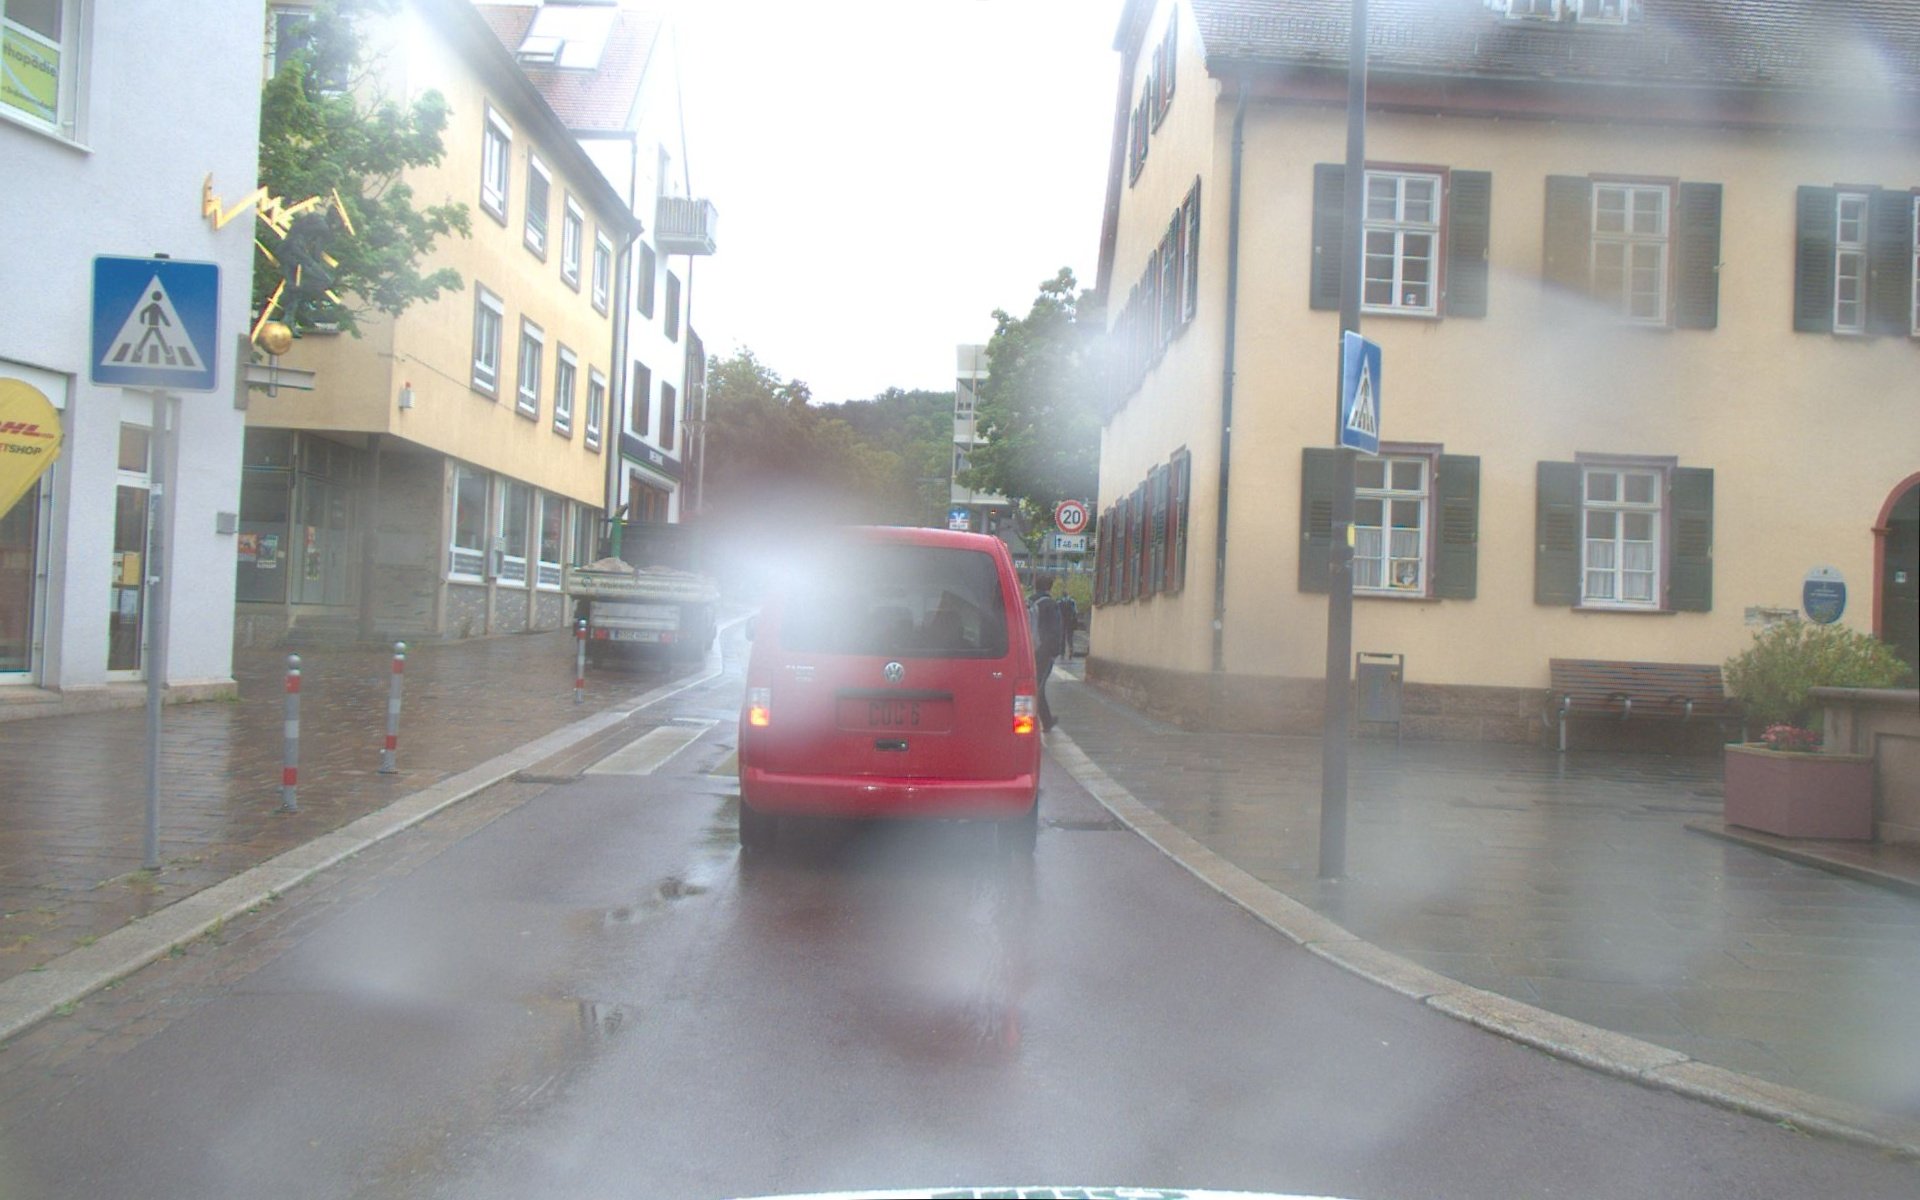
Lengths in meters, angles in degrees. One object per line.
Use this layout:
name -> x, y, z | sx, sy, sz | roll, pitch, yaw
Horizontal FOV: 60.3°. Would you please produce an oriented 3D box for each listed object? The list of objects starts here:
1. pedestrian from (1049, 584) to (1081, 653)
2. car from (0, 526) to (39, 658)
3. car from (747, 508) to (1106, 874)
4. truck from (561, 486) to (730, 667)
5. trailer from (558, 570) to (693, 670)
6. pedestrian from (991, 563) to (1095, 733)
pedestrian -> 2.550, 0.443, 40.352 | 0.713, 1.645, 0.694 | 1, 0, 1
car -> -13.483, -0.141, 19.799 | 3.902, 1.591, 1.967 | 1, 0, 10
car -> -0.349, 0.472, 10.625 | 1.826, 1.862, 4.180 | 1, 0, -5
truck -> -5.513, -0.446, 29.911 | 2.426, 2.843, 6.591 | 1, 1, -6
trailer -> -5.004, 0.256, 25.084 | 1.695, 1.370, 3.156 | 2, 1, -7
pedestrian -> 0.880, 0.490, 17.472 | 0.702, 1.722, 0.865 | 2, 1, 35
